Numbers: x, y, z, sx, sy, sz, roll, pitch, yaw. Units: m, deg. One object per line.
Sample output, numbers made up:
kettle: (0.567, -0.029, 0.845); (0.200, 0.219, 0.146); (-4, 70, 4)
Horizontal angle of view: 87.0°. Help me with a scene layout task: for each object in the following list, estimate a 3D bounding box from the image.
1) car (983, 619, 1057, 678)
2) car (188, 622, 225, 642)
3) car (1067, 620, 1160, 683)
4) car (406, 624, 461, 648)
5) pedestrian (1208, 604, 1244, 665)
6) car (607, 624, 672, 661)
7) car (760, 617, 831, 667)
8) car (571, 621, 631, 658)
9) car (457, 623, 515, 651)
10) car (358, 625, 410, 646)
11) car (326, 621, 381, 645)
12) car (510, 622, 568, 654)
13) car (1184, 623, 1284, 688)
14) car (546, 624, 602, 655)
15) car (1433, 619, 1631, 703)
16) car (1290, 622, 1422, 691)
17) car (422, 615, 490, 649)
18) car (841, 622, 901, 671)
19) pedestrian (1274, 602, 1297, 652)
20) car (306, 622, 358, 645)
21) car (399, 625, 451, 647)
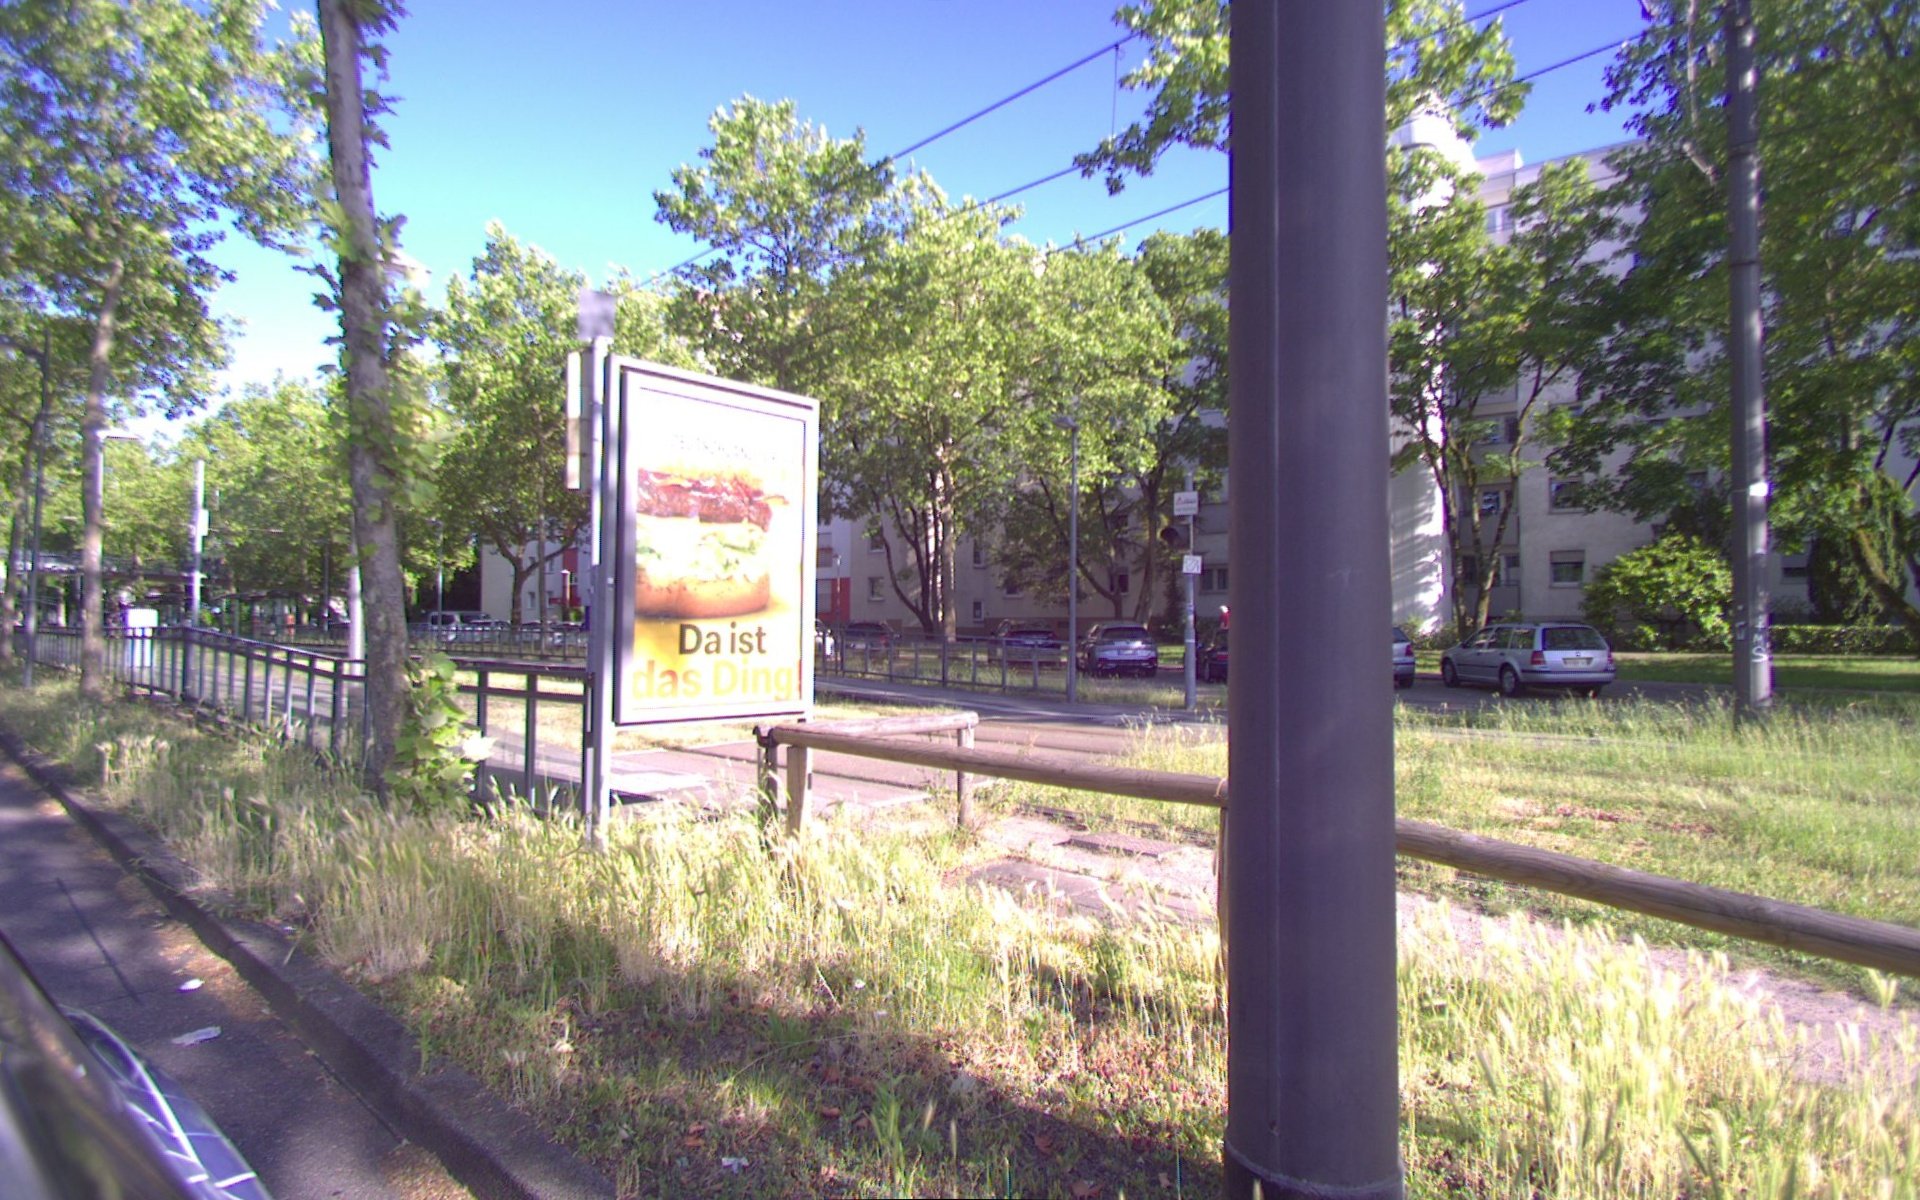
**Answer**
car: (1.693, 1.377, 29.775); (1.669, 1.499, 4.003); (-1, 0, -4)
car: (-60.187, 2.506, 80.806); (1.785, 1.534, 4.333); (1, -2, -44)
car: (4.113, 1.348, 27.713); (1.650, 1.469, 4.004); (-1, 0, -4)
car: (-30.867, 2.082, 59.439); (1.459, 1.354, 3.488); (0, -1, -1)
pedestrian: (7.790, 1.008, 29.680); (0.755, 1.770, 0.752); (-2, -2, 41)
car: (-14.022, 1.845, 44.476); (1.470, 1.425, 3.880); (-1, 0, 3)
car: (-5.988, 1.490, 37.210); (1.791, 1.607, 3.997); (-1, 0, 3)
car: (-16.597, 1.797, 46.989); (1.445, 1.519, 3.393); (-1, 0, 3)
car: (-25.882, 2.003, 55.392); (1.605, 1.414, 3.488); (0, -1, -1)
car: (-37.522, 2.292, 66.053); (1.459, 1.330, 3.488); (0, -1, -1)
car: (-40.774, 2.208, 68.157); (1.578, 1.582, 3.830); (0, -1, -3)
car: (-21.201, 1.888, 51.081); (1.539, 1.436, 3.489); (-3, 0, -2)
car: (6.758, 1.334, 25.348); (1.572, 1.360, 3.922); (-1, 0, 3)
car: (-18.835, 1.910, 49.497); (1.459, 1.339, 3.488); (-2, 0, -1)
car: (11.514, 1.165, 20.713); (1.685, 1.454, 3.978); (-1, 0, -2)
car: (9.098, 1.261, 23.545); (1.553, 1.431, 3.620); (-1, -1, -1)
car: (-28.384, 1.763, 57.097); (1.843, 1.826, 4.047); (0, -1, 0)
car: (-2.997, 1.547, 34.660); (1.538, 1.439, 3.761); (-1, 0, 3)
pedestrian: (11.779, 0.970, 36.628); (0.634, 1.770, 0.516); (-1, -2, 39)
car: (-44.915, 2.385, 72.465); (1.578, 1.538, 3.737); (0, -1, -3)
car: (-33.035, 2.214, 62.590); (1.459, 1.311, 3.488); (0, -1, -1)
